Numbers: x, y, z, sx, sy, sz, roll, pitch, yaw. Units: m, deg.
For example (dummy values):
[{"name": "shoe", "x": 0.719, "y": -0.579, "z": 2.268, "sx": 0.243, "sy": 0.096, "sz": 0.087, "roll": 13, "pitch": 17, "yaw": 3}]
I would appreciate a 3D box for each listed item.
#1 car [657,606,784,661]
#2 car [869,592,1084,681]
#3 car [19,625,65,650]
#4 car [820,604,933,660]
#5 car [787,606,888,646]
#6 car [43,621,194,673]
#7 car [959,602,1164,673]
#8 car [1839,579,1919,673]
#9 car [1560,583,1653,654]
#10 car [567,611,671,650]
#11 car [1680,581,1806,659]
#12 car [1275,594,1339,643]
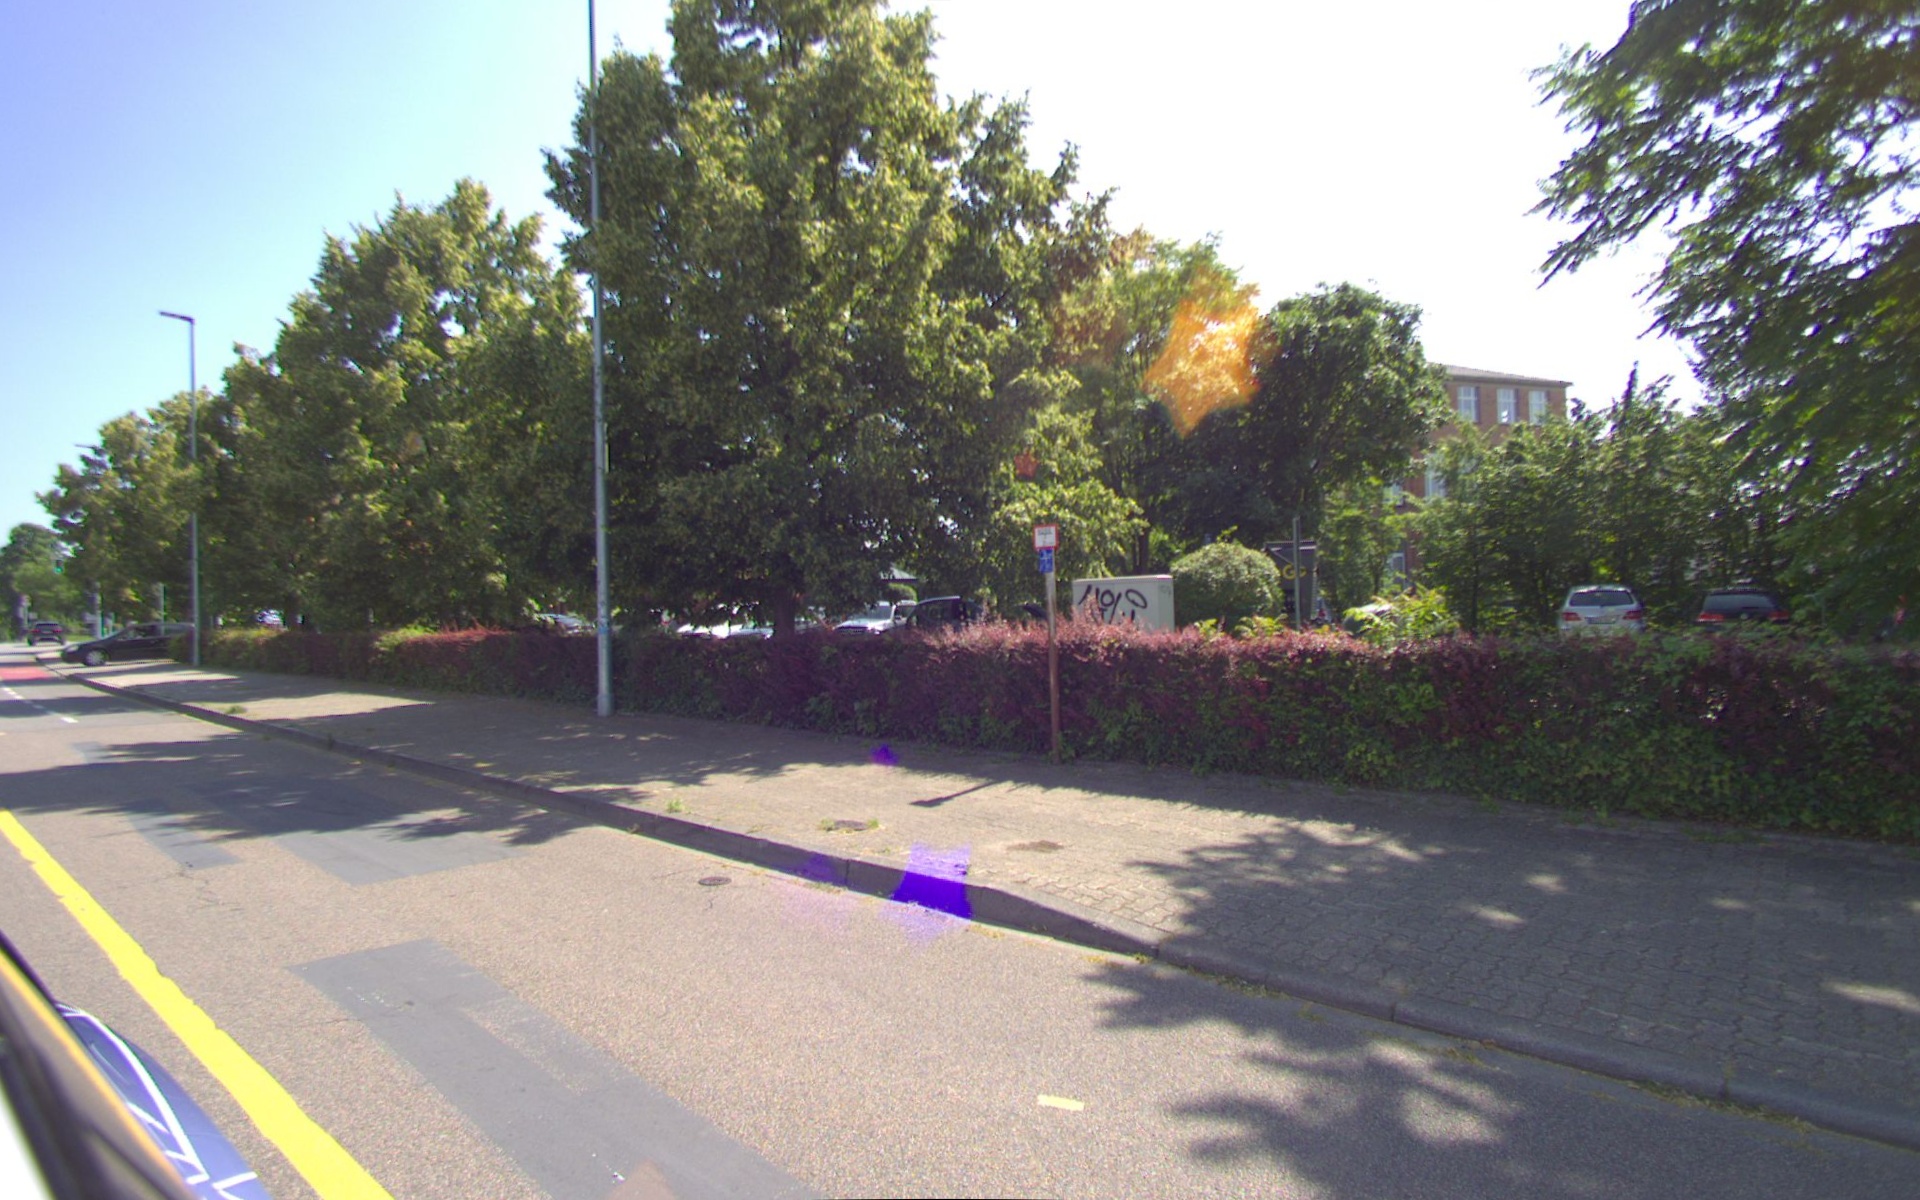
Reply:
[{"name": "car", "x": -7.924, "y": 1.073, "z": 33.872, "sx": 1.852, "sy": 1.698, "sz": 4.275, "roll": -1, "pitch": -1, "yaw": 25}, {"name": "car", "x": 0.267, "y": 0.760, "z": 21.340, "sx": 4.363, "sy": 1.699, "sz": 1.837, "roll": -2, "pitch": -3, "yaw": 40}, {"name": "car", "x": -63.331, "y": 2.540, "z": 69.864, "sx": 1.967, "sy": 1.657, "sz": 4.538, "roll": 0, "pitch": -1, "yaw": -37}, {"name": "car", "x": -2.677, "y": 1.003, "z": 33.362, "sx": 1.851, "sy": 1.698, "sz": 4.331, "roll": -1, "pitch": -1, "yaw": 24}, {"name": "car", "x": -5.683, "y": 1.221, "z": 46.813, "sx": 4.347, "sy": 1.698, "sz": 1.845, "roll": -2, "pitch": 2, "yaw": 28}, {"name": "car", "x": -29.622, "y": 1.618, "z": 35.680, "sx": 3.941, "sy": 1.475, "sz": 1.882, "roll": -4, "pitch": 2, "yaw": -44}, {"name": "car", "x": 2.219, "y": 0.846, "z": 22.935, "sx": 4.363, "sy": 1.464, "sz": 1.837, "roll": -2, "pitch": -3, "yaw": 40}, {"name": "car", "x": 17.383, "y": 0.397, "z": 18.137, "sx": 1.698, "sy": 1.464, "sz": 3.959, "roll": -3, "pitch": 0, "yaw": 31}, {"name": "car", "x": 15.924, "y": 0.414, "z": 25.072, "sx": 1.768, "sy": 1.584, "sz": 3.958, "roll": -3, "pitch": 0, "yaw": 31}, {"name": "car", "x": -14.716, "y": 1.308, "z": 43.709, "sx": 4.120, "sy": 1.564, "sz": 1.904, "roll": -2, "pitch": -1, "yaw": 26}, {"name": "car", "x": 17.108, "y": 0.392, "z": 22.282, "sx": 1.769, "sy": 1.481, "sz": 3.956, "roll": -3, "pitch": 0, "yaw": 33}, {"name": "car", "x": 12.098, "y": 0.611, "z": 35.178, "sx": 1.763, "sy": 1.487, "sz": 3.969, "roll": -3, "pitch": 0, "yaw": 23}]
